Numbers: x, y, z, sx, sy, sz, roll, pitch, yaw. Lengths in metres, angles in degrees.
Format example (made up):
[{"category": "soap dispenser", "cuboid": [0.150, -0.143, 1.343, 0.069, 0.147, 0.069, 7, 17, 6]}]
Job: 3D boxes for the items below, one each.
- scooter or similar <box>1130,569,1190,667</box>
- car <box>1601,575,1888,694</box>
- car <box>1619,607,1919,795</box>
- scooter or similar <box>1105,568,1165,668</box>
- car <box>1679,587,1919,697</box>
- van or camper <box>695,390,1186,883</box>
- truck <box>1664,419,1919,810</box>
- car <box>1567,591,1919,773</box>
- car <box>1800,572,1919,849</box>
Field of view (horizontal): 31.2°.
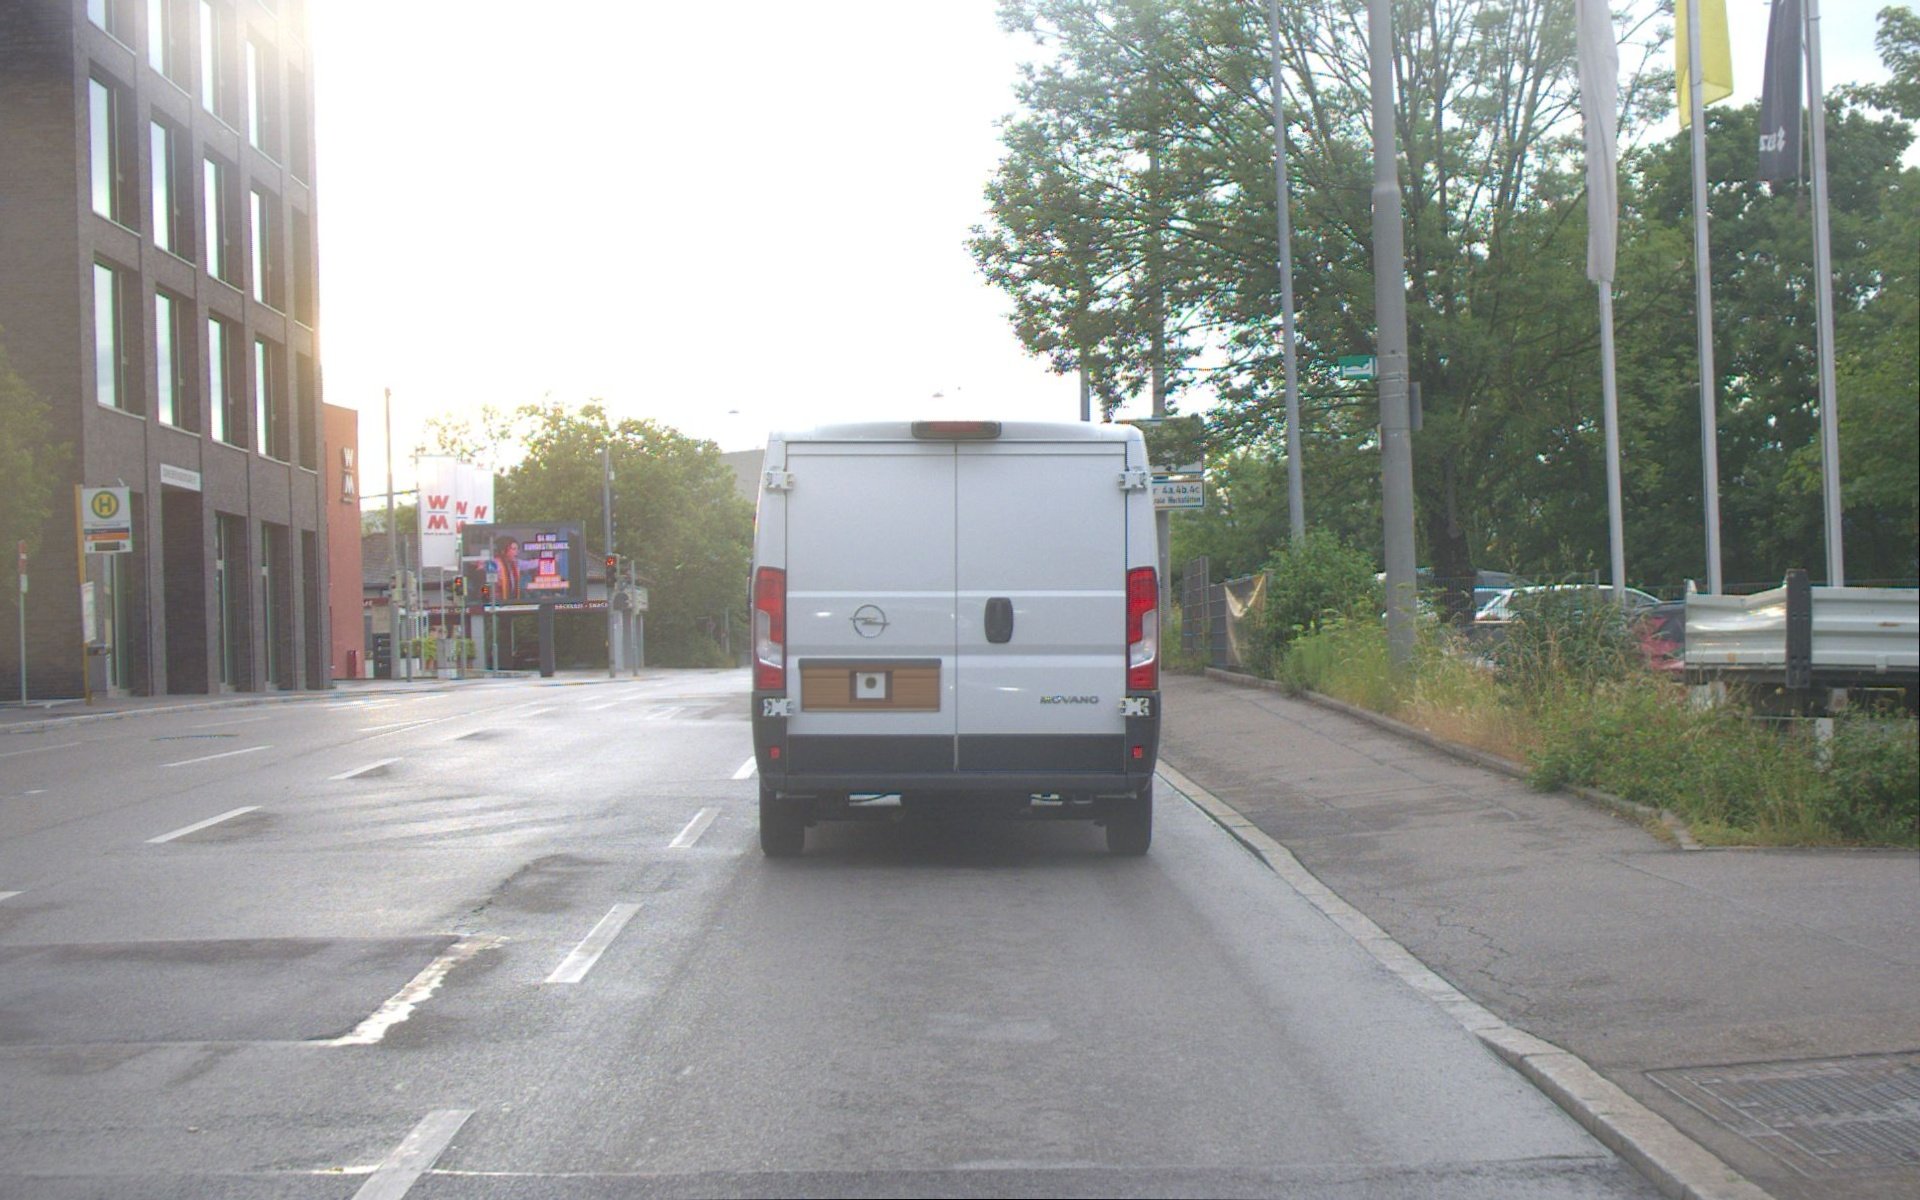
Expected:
[{"category": "scooter or similar", "cuboid": [3.226, 0.279, 55.481, 0.434, 1.559, 1.273, -1, 1, -22]}, {"category": "car", "cuboid": [12.461, 0.534, 54.748, 3.986, 1.516, 1.804, -5, 1, -5]}, {"category": "car", "cuboid": [7.802, 0.835, 29.389, 3.987, 1.503, 1.760, -1, 1, 0]}, {"category": "scooter or similar", "cuboid": [2.809, 0.275, 55.304, 0.434, 1.582, 1.273, -1, 1, -23]}, {"category": "car", "cuboid": [12.784, 0.598, 50.483, 3.986, 1.516, 1.804, -1, 0, -5]}, {"category": "van or camper", "cuboid": [-0.081, 0.136, 19.139, 2.340, 2.349, 5.199, -1, 1, 0]}, {"category": "truck", "cuboid": [6.726, 0.029, 18.963, 5.147, 2.007, 2.345, -1, 1, -2]}, {"category": "car", "cuboid": [7.843, 0.734, 31.837, 4.129, 1.583, 1.760, -1, 1, 0]}, {"category": "car", "cuboid": [7.399, 0.641, 21.717, 3.690, 1.665, 1.737, -1, 0, -4]}]
